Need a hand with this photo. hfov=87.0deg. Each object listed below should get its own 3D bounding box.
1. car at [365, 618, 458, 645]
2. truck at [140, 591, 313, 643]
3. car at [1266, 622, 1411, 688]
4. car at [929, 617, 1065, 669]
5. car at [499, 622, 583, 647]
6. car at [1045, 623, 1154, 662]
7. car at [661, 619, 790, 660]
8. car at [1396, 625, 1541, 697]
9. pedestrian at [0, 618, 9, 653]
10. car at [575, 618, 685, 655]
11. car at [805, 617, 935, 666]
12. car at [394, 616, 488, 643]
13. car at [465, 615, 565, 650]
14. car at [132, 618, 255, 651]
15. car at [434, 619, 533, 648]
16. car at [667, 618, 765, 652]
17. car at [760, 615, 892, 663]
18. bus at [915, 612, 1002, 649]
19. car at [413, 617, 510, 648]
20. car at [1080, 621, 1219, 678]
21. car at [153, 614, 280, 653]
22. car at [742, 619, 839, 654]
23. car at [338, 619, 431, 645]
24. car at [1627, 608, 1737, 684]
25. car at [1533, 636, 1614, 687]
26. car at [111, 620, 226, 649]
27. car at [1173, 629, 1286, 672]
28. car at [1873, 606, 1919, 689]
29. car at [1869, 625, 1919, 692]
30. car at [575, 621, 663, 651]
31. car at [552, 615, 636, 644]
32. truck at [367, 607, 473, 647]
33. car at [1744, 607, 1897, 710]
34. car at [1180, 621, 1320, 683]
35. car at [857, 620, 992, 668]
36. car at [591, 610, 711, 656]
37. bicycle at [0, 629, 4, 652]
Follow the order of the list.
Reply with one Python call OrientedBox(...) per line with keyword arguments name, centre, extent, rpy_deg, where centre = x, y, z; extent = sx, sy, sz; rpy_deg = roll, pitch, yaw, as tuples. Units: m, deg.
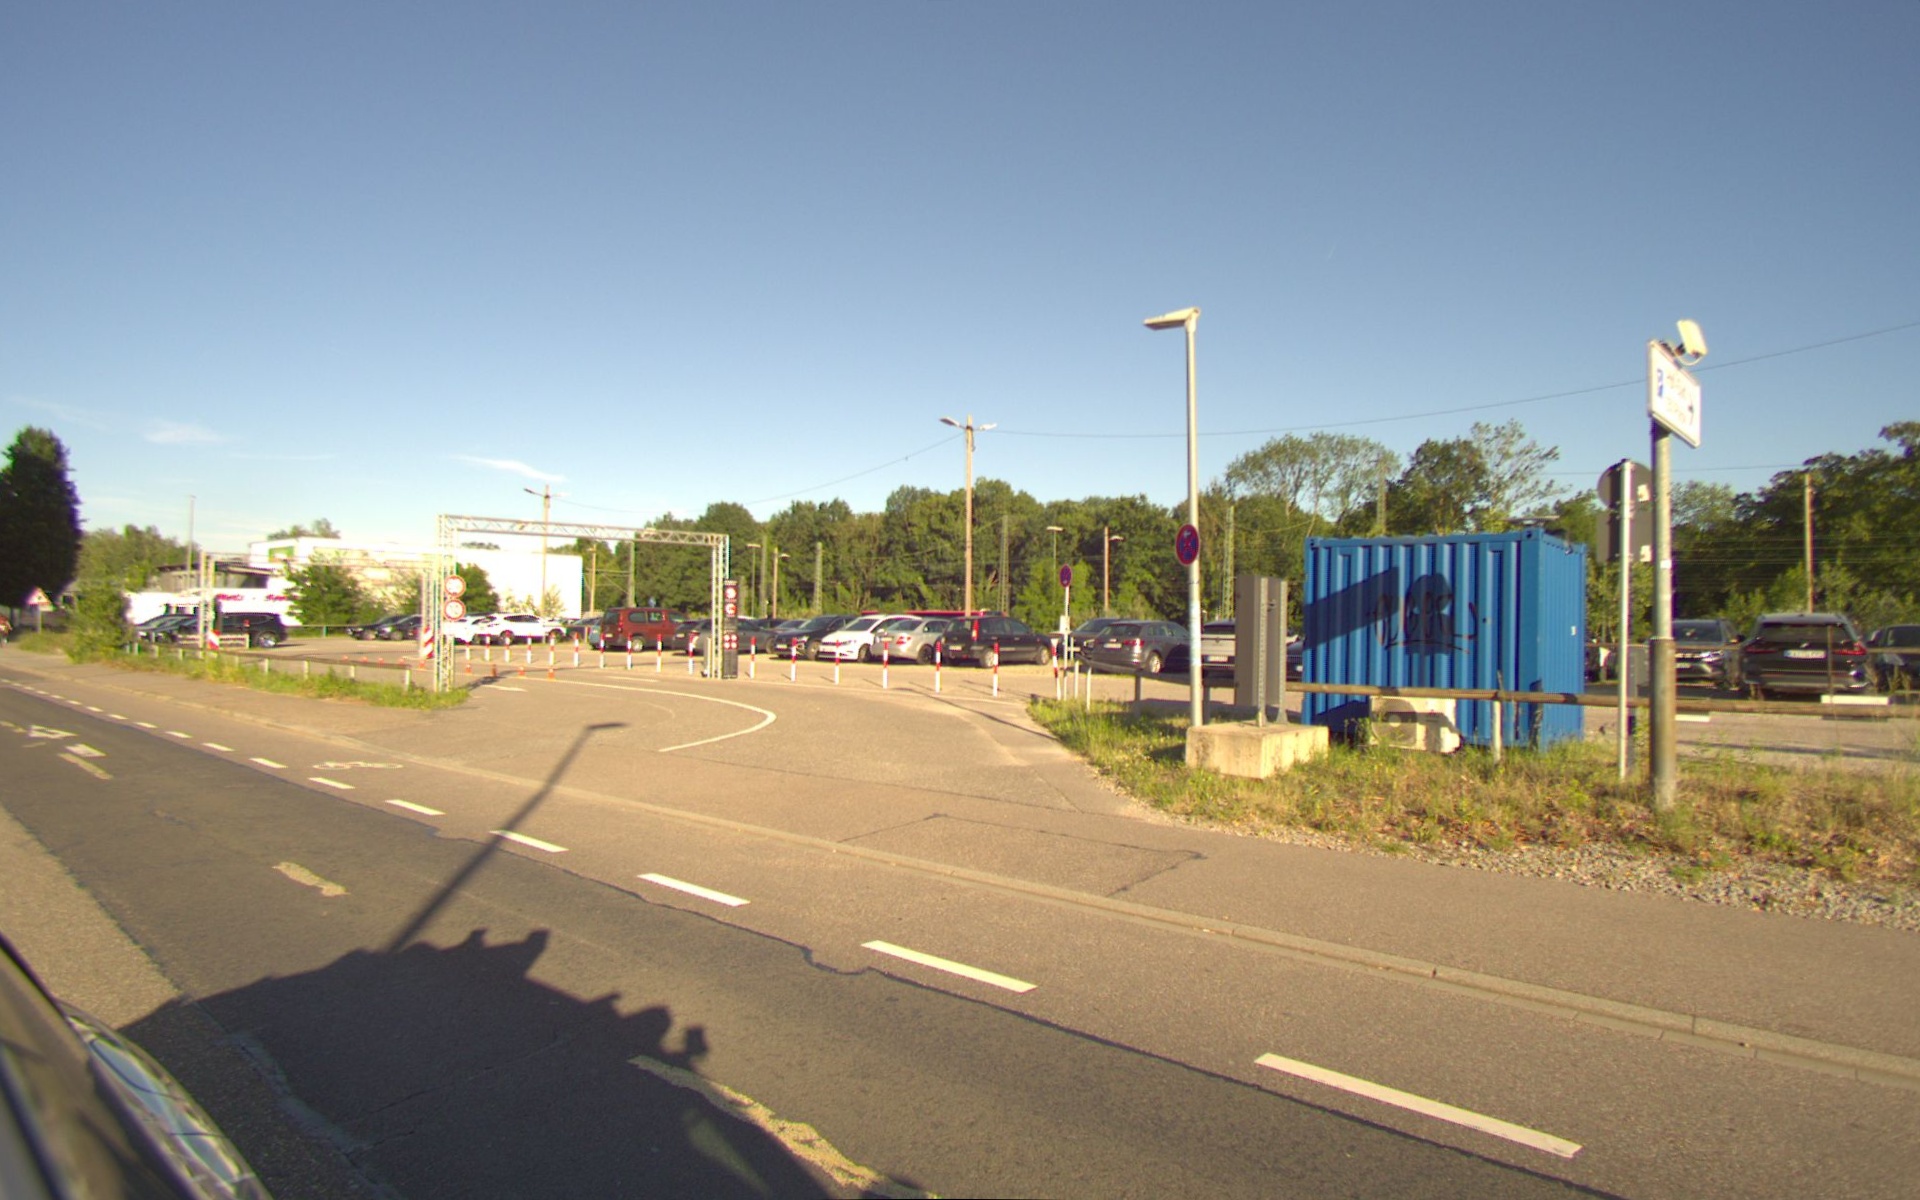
OrientedBox(name="car", centre=(-32.055, 1.826, 59.244), extent=(2.045, 1.476, 4.361), rpy_deg=(-1, -2, 37))
OrientedBox(name="truck", centre=(-54.340, 1.244, 75.329), extent=(2.773, 3.642, 9.997), rpy_deg=(0, -1, 40))
OrientedBox(name="car", centre=(8.924, 1.222, 23.673), extent=(1.877, 1.387, 4.278), rpy_deg=(-1, -2, 40))
OrientedBox(name="car", centre=(1.197, 1.264, 30.945), extent=(1.877, 1.474, 4.276), rpy_deg=(-1, -2, 41))
OrientedBox(name="car", centre=(-24.724, 2.005, 59.865), extent=(2.045, 1.408, 4.122), rpy_deg=(-1, -2, 37))
OrientedBox(name="car", centre=(4.727, 1.388, 34.043), extent=(1.877, 1.197, 3.842), rpy_deg=(-1, -2, 41))
OrientedBox(name="car", centre=(-9.017, 1.478, 39.200), extent=(1.991, 1.492, 4.525), rpy_deg=(-1, -2, 44))
OrientedBox(name="car", centre=(11.085, 1.241, 21.902), extent=(1.877, 1.387, 4.278), rpy_deg=(-1, -2, 40))
OrientedBox(name="pedestrian", centre=(-48.189, 1.772, 50.654), extent=(1.057, 1.734, 0.713), rpy_deg=(0, -2, 41))
OrientedBox(name="car", centre=(-14.582, 1.575, 44.850), extent=(1.856, 1.557, 4.321), rpy_deg=(-1, -2, 41))
OrientedBox(name="car", centre=(-2.964, 1.364, 34.096), extent=(1.877, 1.535, 4.276), rpy_deg=(-1, -2, 41))
OrientedBox(name="car", centre=(-28.400, 1.626, 55.485), extent=(2.045, 1.408, 4.122), rpy_deg=(-1, -2, 37))
OrientedBox(name="car", centre=(-22.152, 1.623, 50.522), extent=(1.964, 1.674, 4.120), rpy_deg=(-1, -2, 38))
OrientedBox(name="car", centre=(-36.629, 1.631, 48.429), extent=(2.048, 1.473, 4.381), rpy_deg=(-1, -2, 42))
OrientedBox(name="car", centre=(-24.326, 1.722, 51.811), extent=(2.045, 1.408, 4.122), rpy_deg=(-1, -2, 37))
OrientedBox(name="car", centre=(-11.671, 1.640, 48.602), extent=(1.856, 1.557, 4.321), rpy_deg=(-1, -2, 41))
OrientedBox(name="car", centre=(-4.639, 1.334, 35.655), extent=(1.856, 1.597, 4.528), rpy_deg=(-1, -2, 41))
OrientedBox(name="bus", centre=(-0.142, 2.023, 68.089), extent=(5.588, 2.366, 2.512), rpy_deg=(-1, -3, 42))
OrientedBox(name="car", centre=(-26.224, 1.705, 53.349), extent=(2.045, 1.590, 4.122), rpy_deg=(-1, -2, 37))
OrientedBox(name="car", centre=(5.199, 1.277, 27.366), extent=(1.877, 1.430, 4.278), rpy_deg=(-1, -2, 40))
OrientedBox(name="car", centre=(-34.215, 1.524, 46.681), extent=(2.048, 1.683, 4.381), rpy_deg=(-1, -2, 42))
OrientedBox(name="car", centre=(-7.398, 1.588, 44.445), extent=(1.893, 1.477, 3.947), rpy_deg=(-1, -2, 39))
OrientedBox(name="car", centre=(-34.440, 1.908, 60.653), extent=(2.045, 1.476, 4.361), rpy_deg=(-1, -2, 37))
OrientedBox(name="car", centre=(16.921, 1.028, 23.646), extent=(1.805, 1.616, 3.843), rpy_deg=(-1, -2, 40))
OrientedBox(name="car", centre=(20.730, 2.038, 34.155), extent=(1.753, 1.565, 3.683), rpy_deg=(-1, -2, 41))
OrientedBox(name="car", centre=(-40.923, 1.774, 52.372), extent=(2.048, 1.473, 4.381), rpy_deg=(-1, -2, 42))
OrientedBox(name="car", centre=(8.345, 1.500, 31.152), extent=(1.877, 1.197, 3.822), rpy_deg=(-1, -2, 41))
OrientedBox(name="car", centre=(20.227, 0.953, 20.961), extent=(1.878, 1.616, 3.841), rpy_deg=(-1, -2, 42))
OrientedBox(name="car", centre=(26.856, 1.603, 28.498), extent=(1.753, 1.784, 3.683), rpy_deg=(-1, -2, 41))
OrientedBox(name="car", centre=(-18.347, 1.926, 54.548), extent=(1.964, 1.541, 4.120), rpy_deg=(-1, -2, 38))
OrientedBox(name="car", centre=(-20.186, 1.625, 55.920), extent=(1.911, 1.561, 3.949), rpy_deg=(-1, -2, 38))
OrientedBox(name="truck", centre=(-39.839, 1.995, 74.838), extent=(2.314, 2.829, 6.430), rpy_deg=(0, -2, 39))
OrientedBox(name="car", centre=(15.236, 0.968, 18.022), extent=(1.877, 1.616, 3.843), rpy_deg=(-1, -2, 40))
OrientedBox(name="car", centre=(7.477, 1.258, 25.836), extent=(1.877, 1.430, 4.278), rpy_deg=(-1, -2, 40))
OrientedBox(name="car", centre=(-1.066, 1.350, 32.222), extent=(1.877, 1.404, 4.276), rpy_deg=(-1, -2, 41))
OrientedBox(name="car", centre=(-12.957, 1.361, 42.633), extent=(1.856, 1.819, 4.528), rpy_deg=(-1, -2, 41))
OrientedBox(name="bicycle", centre=(-48.253, 2.019, 50.607), extent=(1.868, 1.157, 0.465), rpy_deg=(-1, -1, 41))
